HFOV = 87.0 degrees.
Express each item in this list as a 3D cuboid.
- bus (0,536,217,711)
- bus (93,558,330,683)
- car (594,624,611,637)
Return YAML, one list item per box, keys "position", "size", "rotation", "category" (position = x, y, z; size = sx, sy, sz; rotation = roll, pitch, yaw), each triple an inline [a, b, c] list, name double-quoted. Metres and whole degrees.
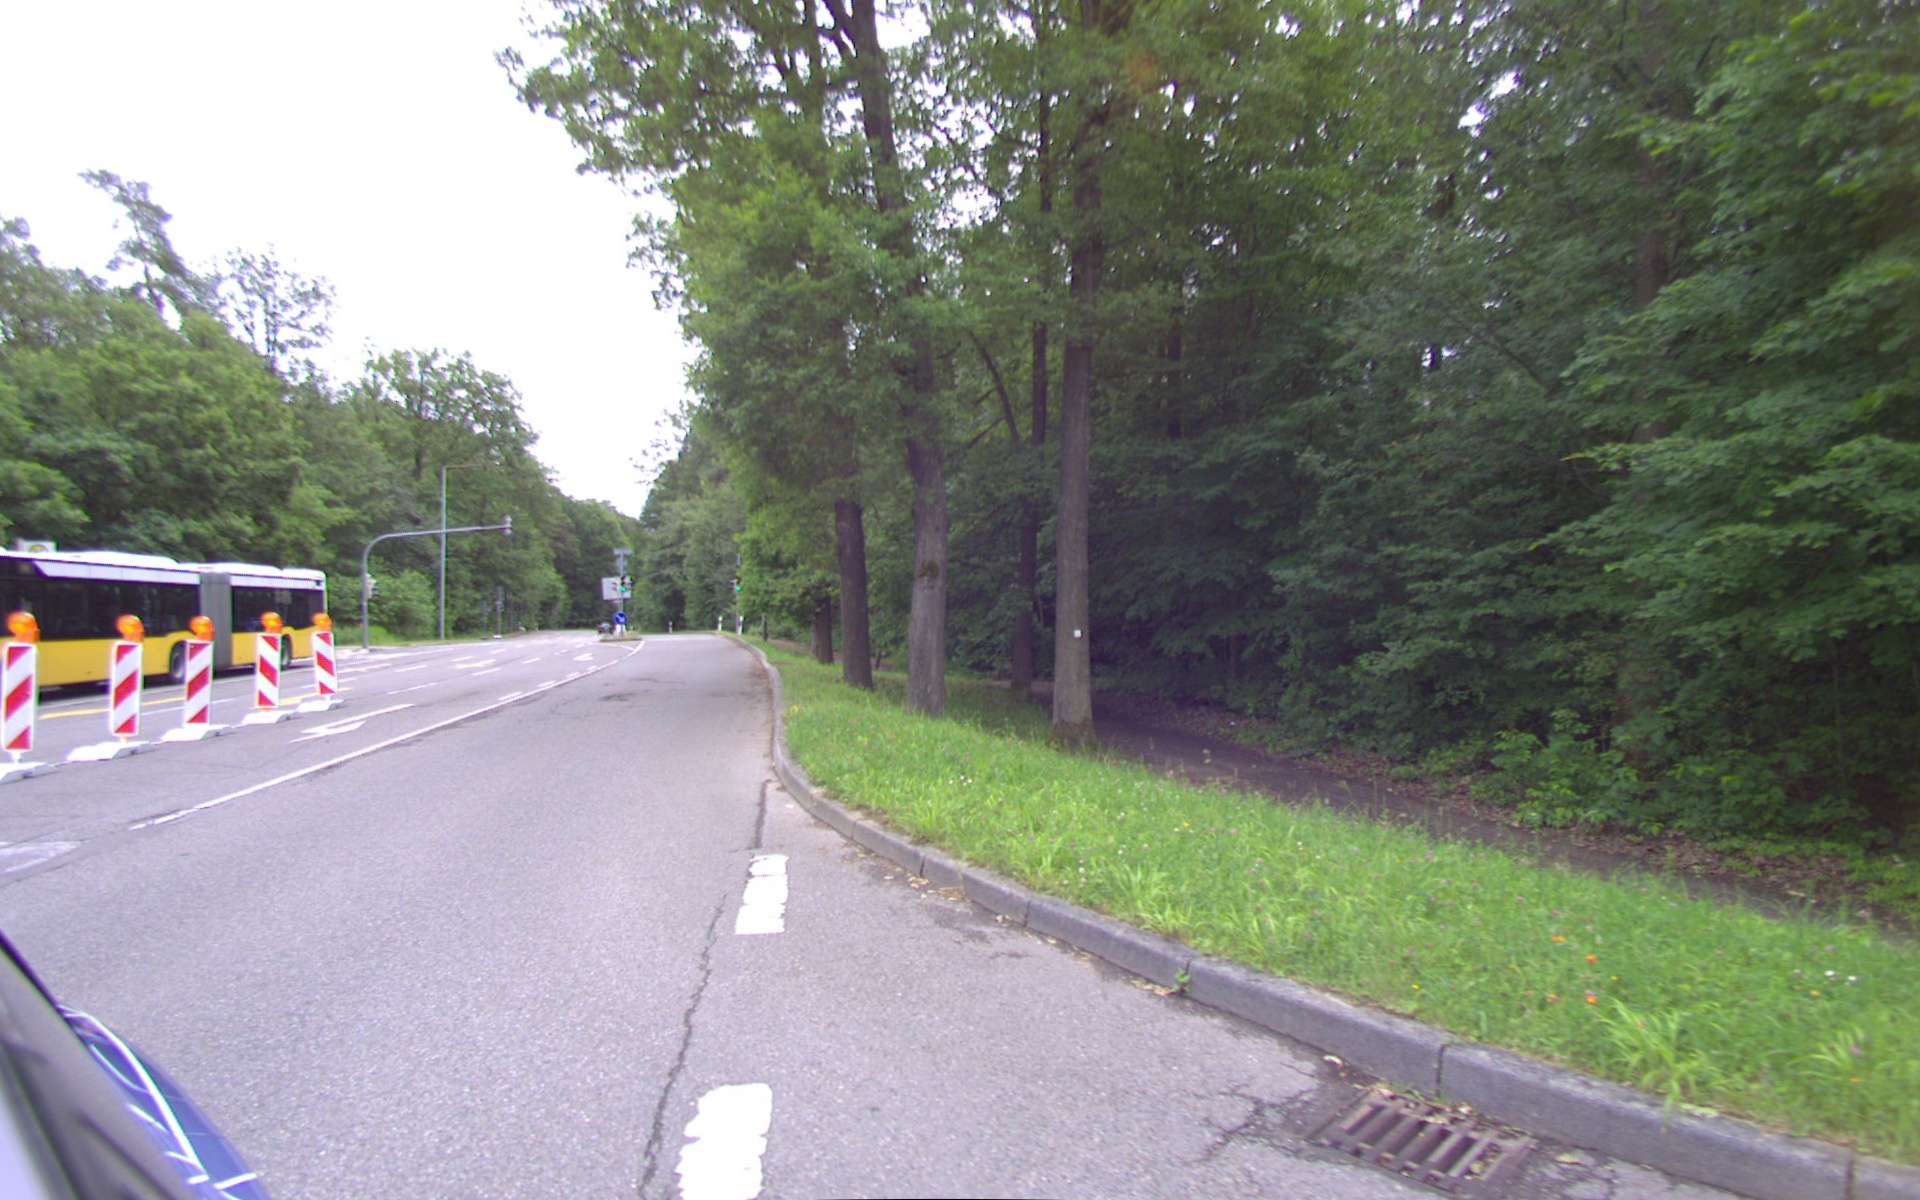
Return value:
- position: [-19.483, 0.474, 20.904]
  size: [2.765, 3.183, 10.545]
  rotation: [-1, 0, -13]
  category: "bus"
- position: [-21.598, 0.551, 29.845]
  size: [2.765, 3.183, 7.777]
  rotation: [-1, 0, -13]
  category: "bus"
- position: [-42.943, 3.628, 121.555]
  size: [1.722, 1.340, 4.012]
  rotation: [-2, 1, -17]
  category: "car"
